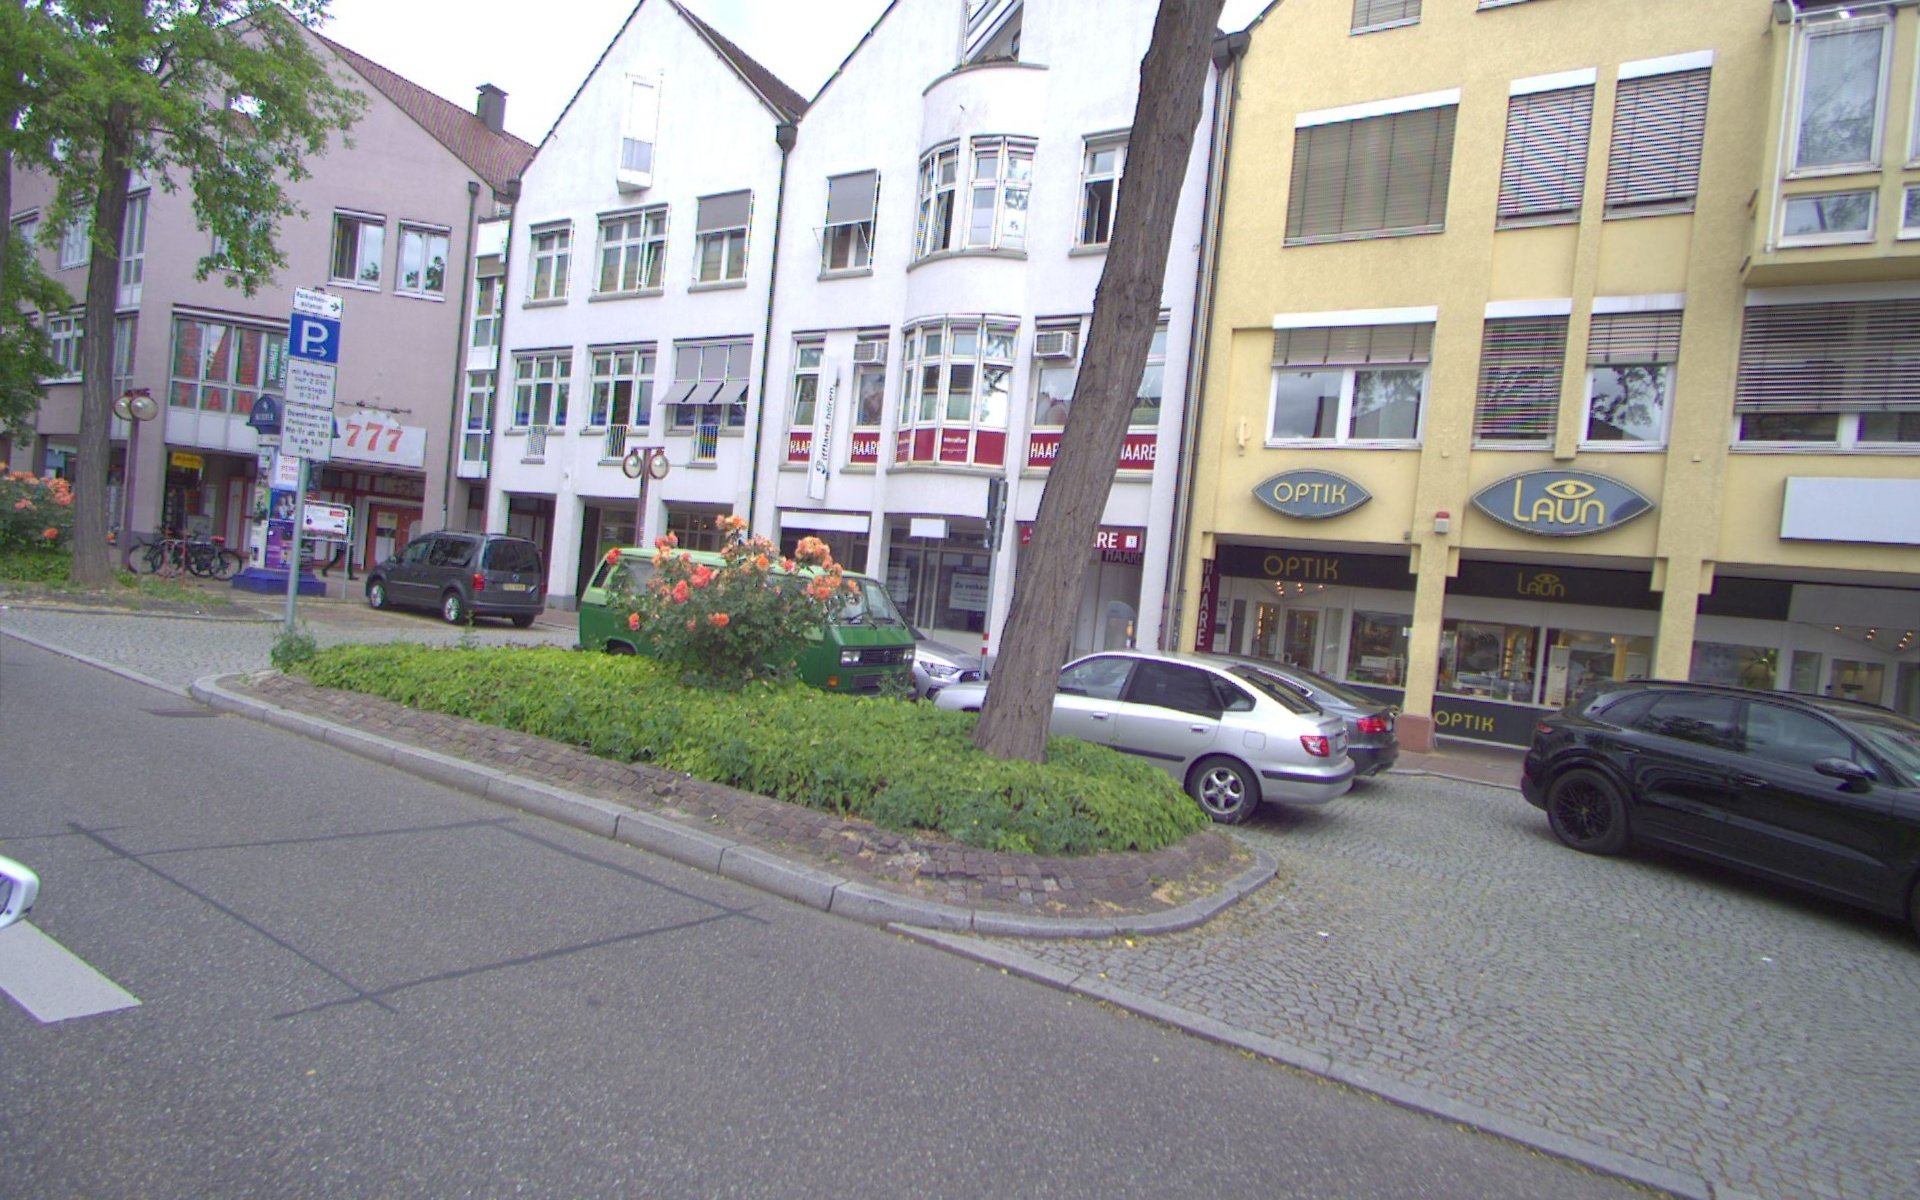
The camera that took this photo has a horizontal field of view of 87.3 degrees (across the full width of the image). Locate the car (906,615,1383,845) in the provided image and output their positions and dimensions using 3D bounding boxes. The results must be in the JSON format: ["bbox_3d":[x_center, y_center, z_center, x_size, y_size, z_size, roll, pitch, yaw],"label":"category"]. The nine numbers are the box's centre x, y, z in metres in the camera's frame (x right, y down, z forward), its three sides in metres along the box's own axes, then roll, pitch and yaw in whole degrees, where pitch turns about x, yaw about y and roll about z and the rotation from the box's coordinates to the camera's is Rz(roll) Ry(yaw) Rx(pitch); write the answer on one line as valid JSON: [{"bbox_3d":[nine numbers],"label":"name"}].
[{"bbox_3d":[1.805,1.162,10.288,4.344,1.468,1.765,7,0,30],"label":"car"}]

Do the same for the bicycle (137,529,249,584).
[{"bbox_3d":[-17.337,-0.963,22.779,0.460,1.009,1.901,7,0,36],"label":"bicycle"}]

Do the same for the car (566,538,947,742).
[{"bbox_3d":[-2.657,0.409,12.830,4.527,1.900,1.882,7,2,30],"label":"car"}]

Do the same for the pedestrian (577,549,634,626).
[{"bbox_3d":[-8.135,-0.283,23.093,0.805,1.682,0.789,7,3,31],"label":"pedestrian"}]

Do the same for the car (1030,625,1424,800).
[{"bbox_3d":[3.331,1.279,12.718,4.344,1.394,1.999,7,1,30],"label":"car"}]

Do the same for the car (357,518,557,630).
[{"bbox_3d":[-10.498,-0.542,20.950,3.898,1.855,1.639,7,1,28],"label":"car"}]

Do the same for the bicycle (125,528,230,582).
[{"bbox_3d":[-17.850,-1.006,22.984,0.440,1.009,1.769,7,0,36],"label":"bicycle"}]

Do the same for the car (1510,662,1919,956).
[{"bbox_3d":[7.243,1.661,8.226,1.832,1.692,4.641,6,1,-19],"label":"car"}]

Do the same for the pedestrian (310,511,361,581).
[{"bbox_3d":[-17.565,-1.517,28.285,0.805,1.815,0.789,7,1,31],"label":"pedestrian"}]

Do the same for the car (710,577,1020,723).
[{"bbox_3d":[-1.486,0.683,15.222,4.320,1.562,1.797,7,2,30],"label":"car"}]
